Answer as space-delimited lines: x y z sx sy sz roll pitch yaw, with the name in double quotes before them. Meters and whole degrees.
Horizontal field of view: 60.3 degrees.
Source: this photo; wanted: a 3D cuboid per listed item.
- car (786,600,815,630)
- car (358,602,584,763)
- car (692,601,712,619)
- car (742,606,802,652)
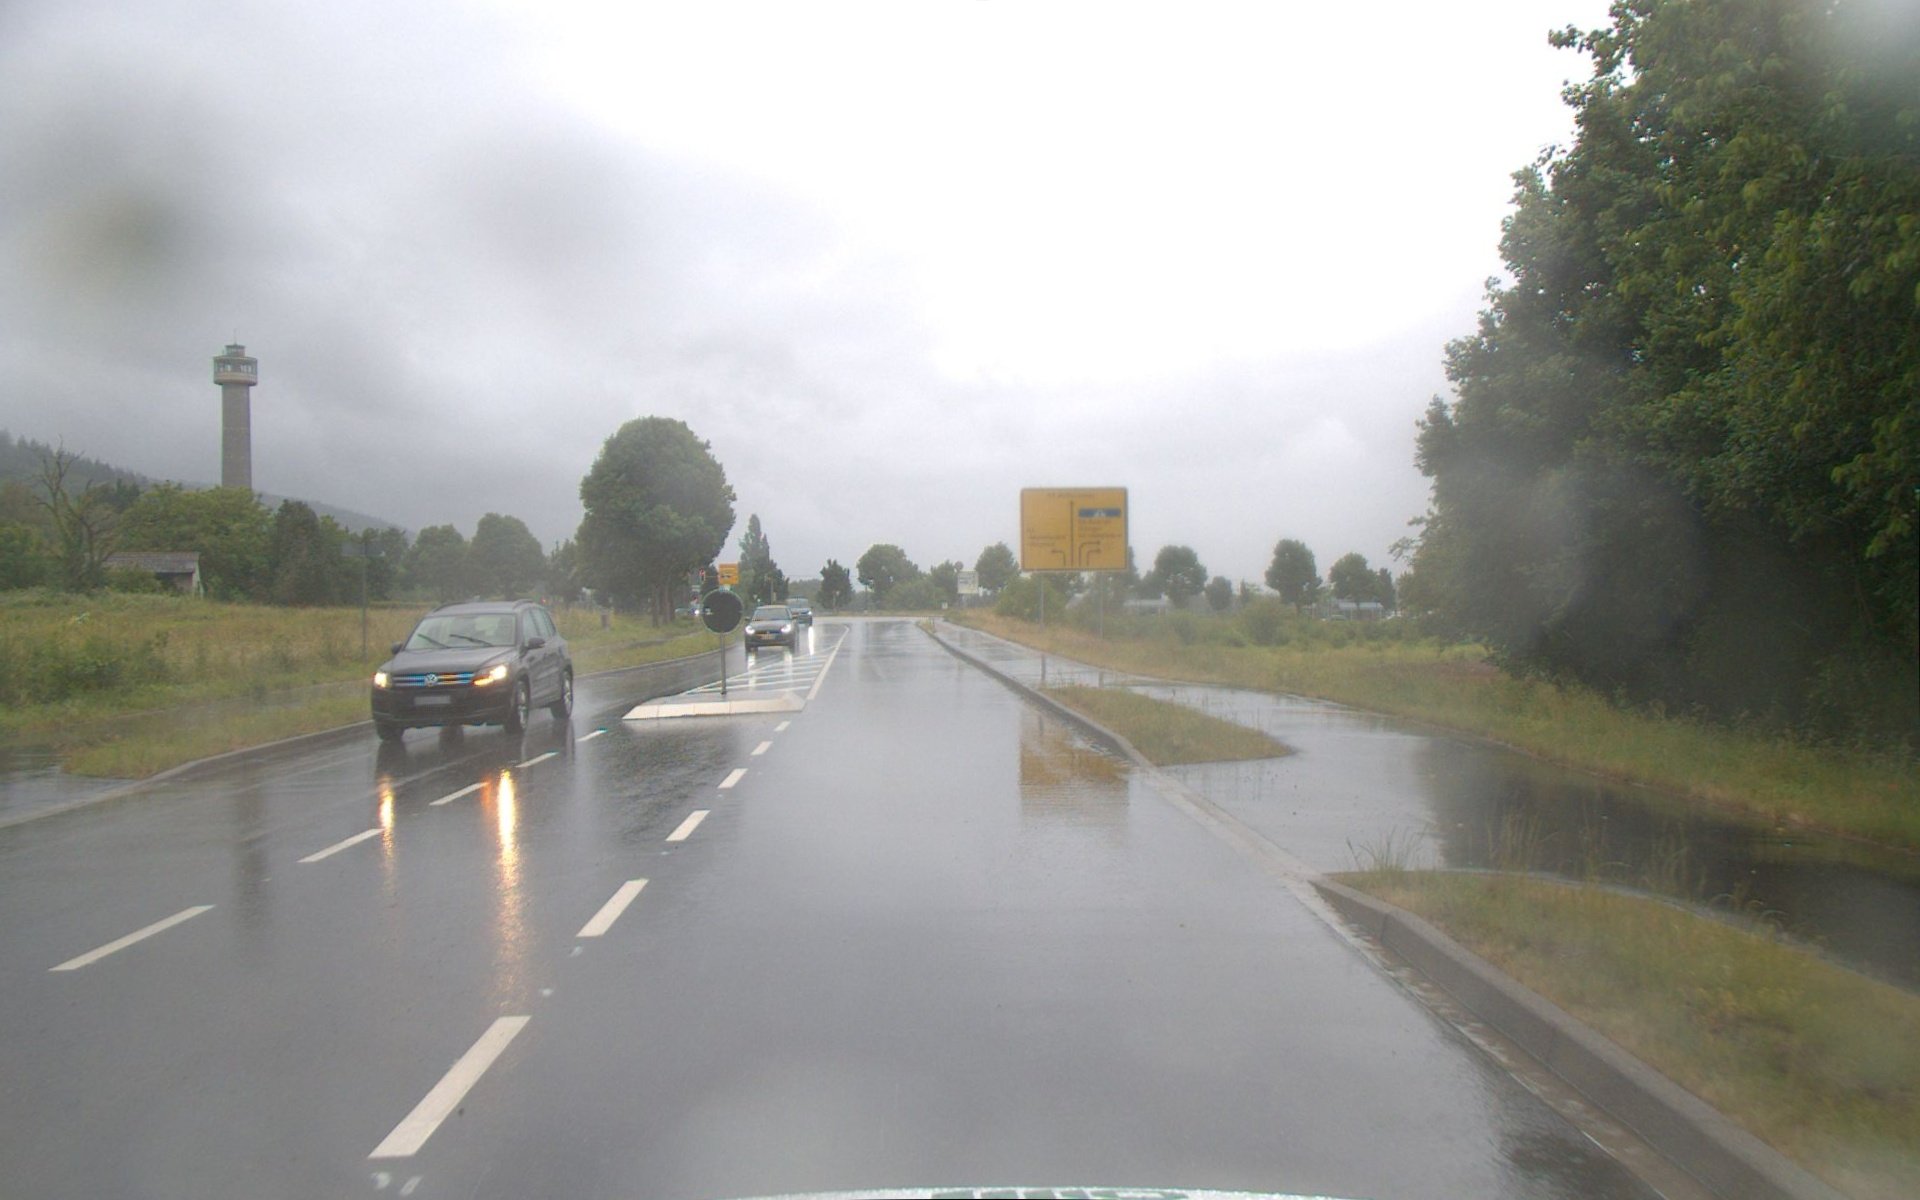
"car" -11.679 1.061 121.382 1.955 2.006 4.952 -3 0 -4
"car" -6.223 0.968 21.547 1.706 1.748 4.266 -3 1 -2
"car" -27.664 1.053 177.304 1.871 1.751 3.990 -4 1 -10
"car" -6.521 0.988 57.585 1.663 1.426 3.766 -3 0 -1
